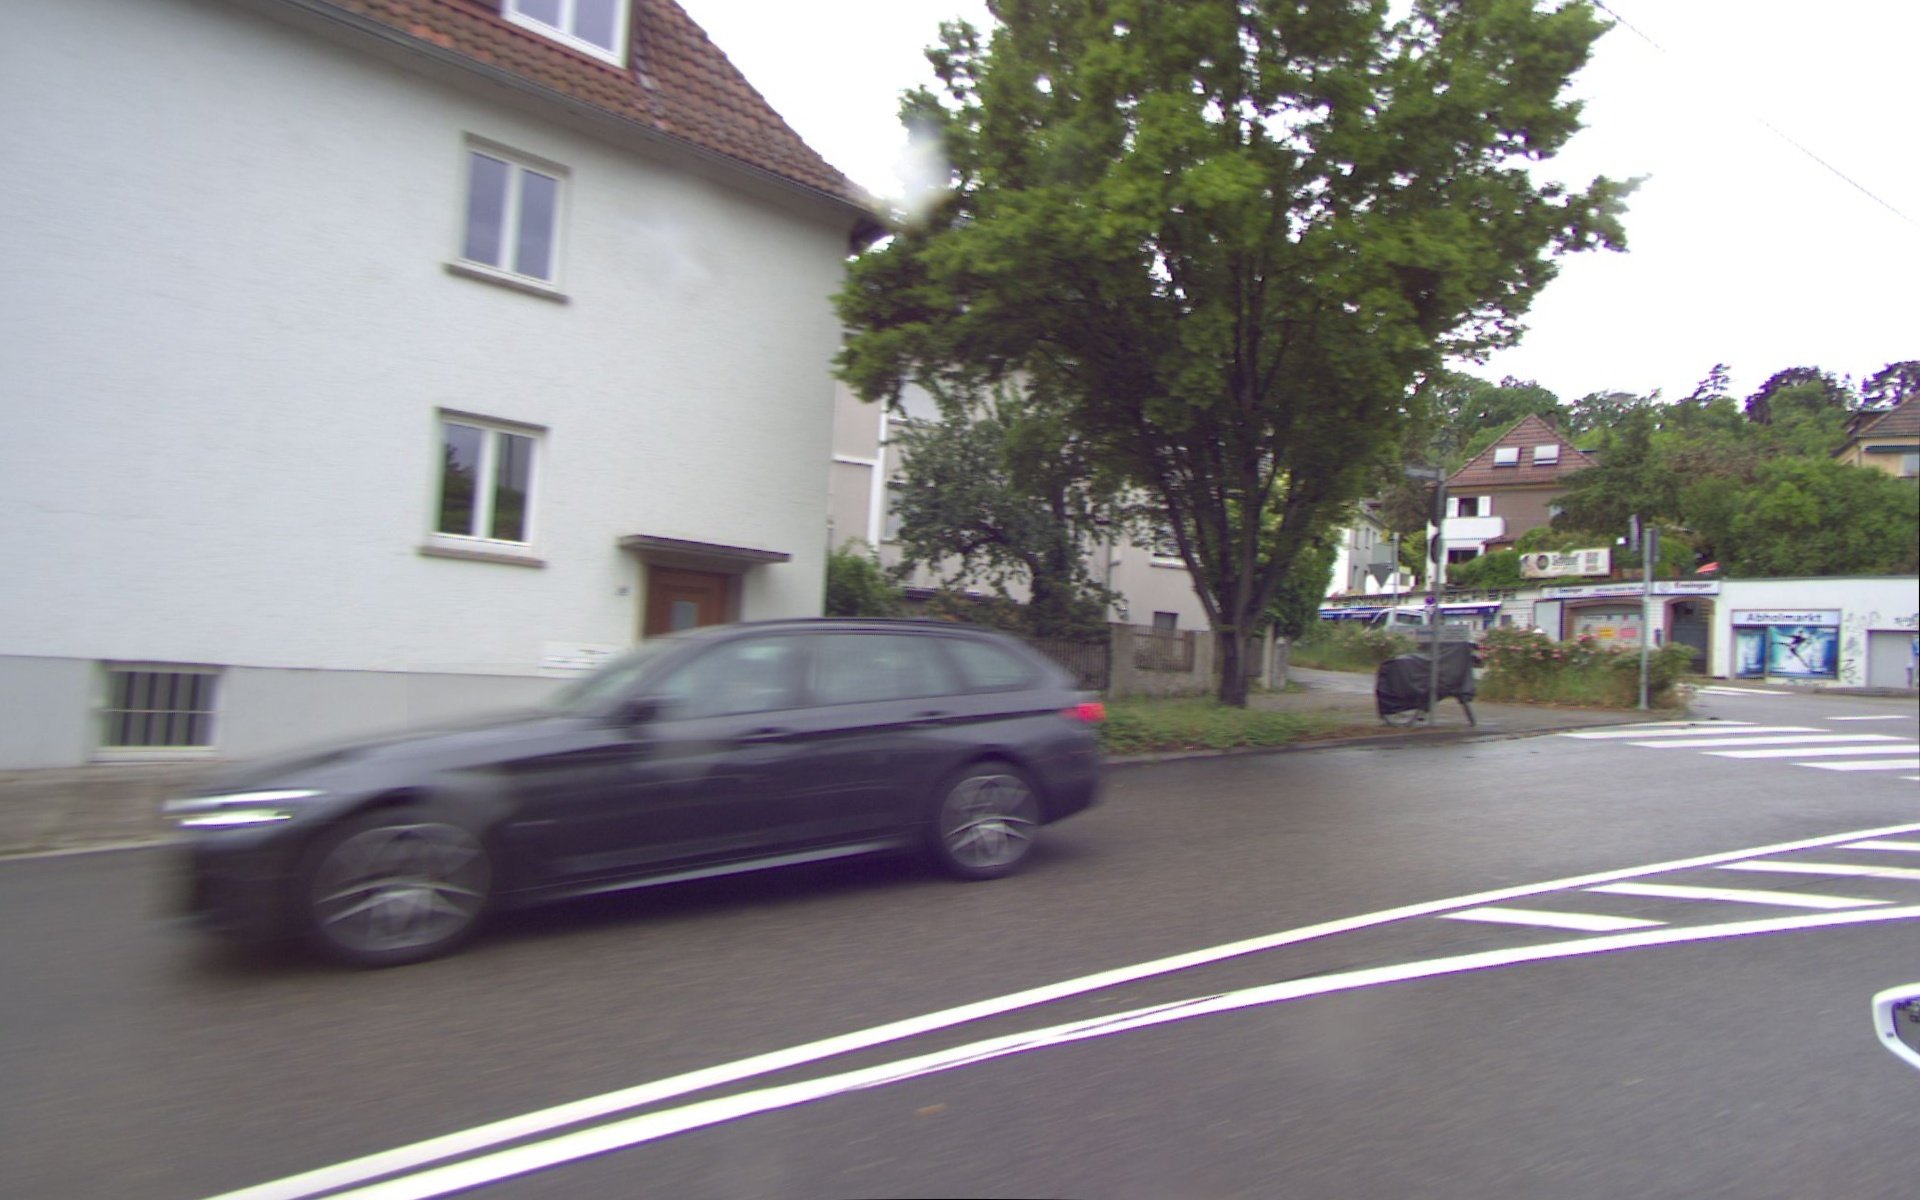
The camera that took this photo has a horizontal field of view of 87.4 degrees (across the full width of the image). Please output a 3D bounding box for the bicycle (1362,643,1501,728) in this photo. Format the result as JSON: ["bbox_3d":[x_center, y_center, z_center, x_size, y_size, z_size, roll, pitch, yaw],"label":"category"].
[{"bbox_3d":[6.594,1.182,14.042,1.930,1.099,0.420,0,0,-14],"label":"bicycle"}]

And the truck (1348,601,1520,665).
[{"bbox_3d":[18.647,1.221,40.044,2.277,2.299,6.787,2,-1,-16],"label":"truck"}]

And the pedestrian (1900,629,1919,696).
[{"bbox_3d":[26.609,1.732,27.814,0.802,1.830,0.699,2,0,-39],"label":"pedestrian"}]

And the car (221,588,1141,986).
[{"bbox_3d":[-1.306,0.799,5.827,4.584,1.511,1.861,2,-3,-31],"label":"car"}]

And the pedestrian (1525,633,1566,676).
[{"bbox_3d":[21.812,2.025,37.436,0.875,1.525,0.976,1,1,-14],"label":"pedestrian"}]
